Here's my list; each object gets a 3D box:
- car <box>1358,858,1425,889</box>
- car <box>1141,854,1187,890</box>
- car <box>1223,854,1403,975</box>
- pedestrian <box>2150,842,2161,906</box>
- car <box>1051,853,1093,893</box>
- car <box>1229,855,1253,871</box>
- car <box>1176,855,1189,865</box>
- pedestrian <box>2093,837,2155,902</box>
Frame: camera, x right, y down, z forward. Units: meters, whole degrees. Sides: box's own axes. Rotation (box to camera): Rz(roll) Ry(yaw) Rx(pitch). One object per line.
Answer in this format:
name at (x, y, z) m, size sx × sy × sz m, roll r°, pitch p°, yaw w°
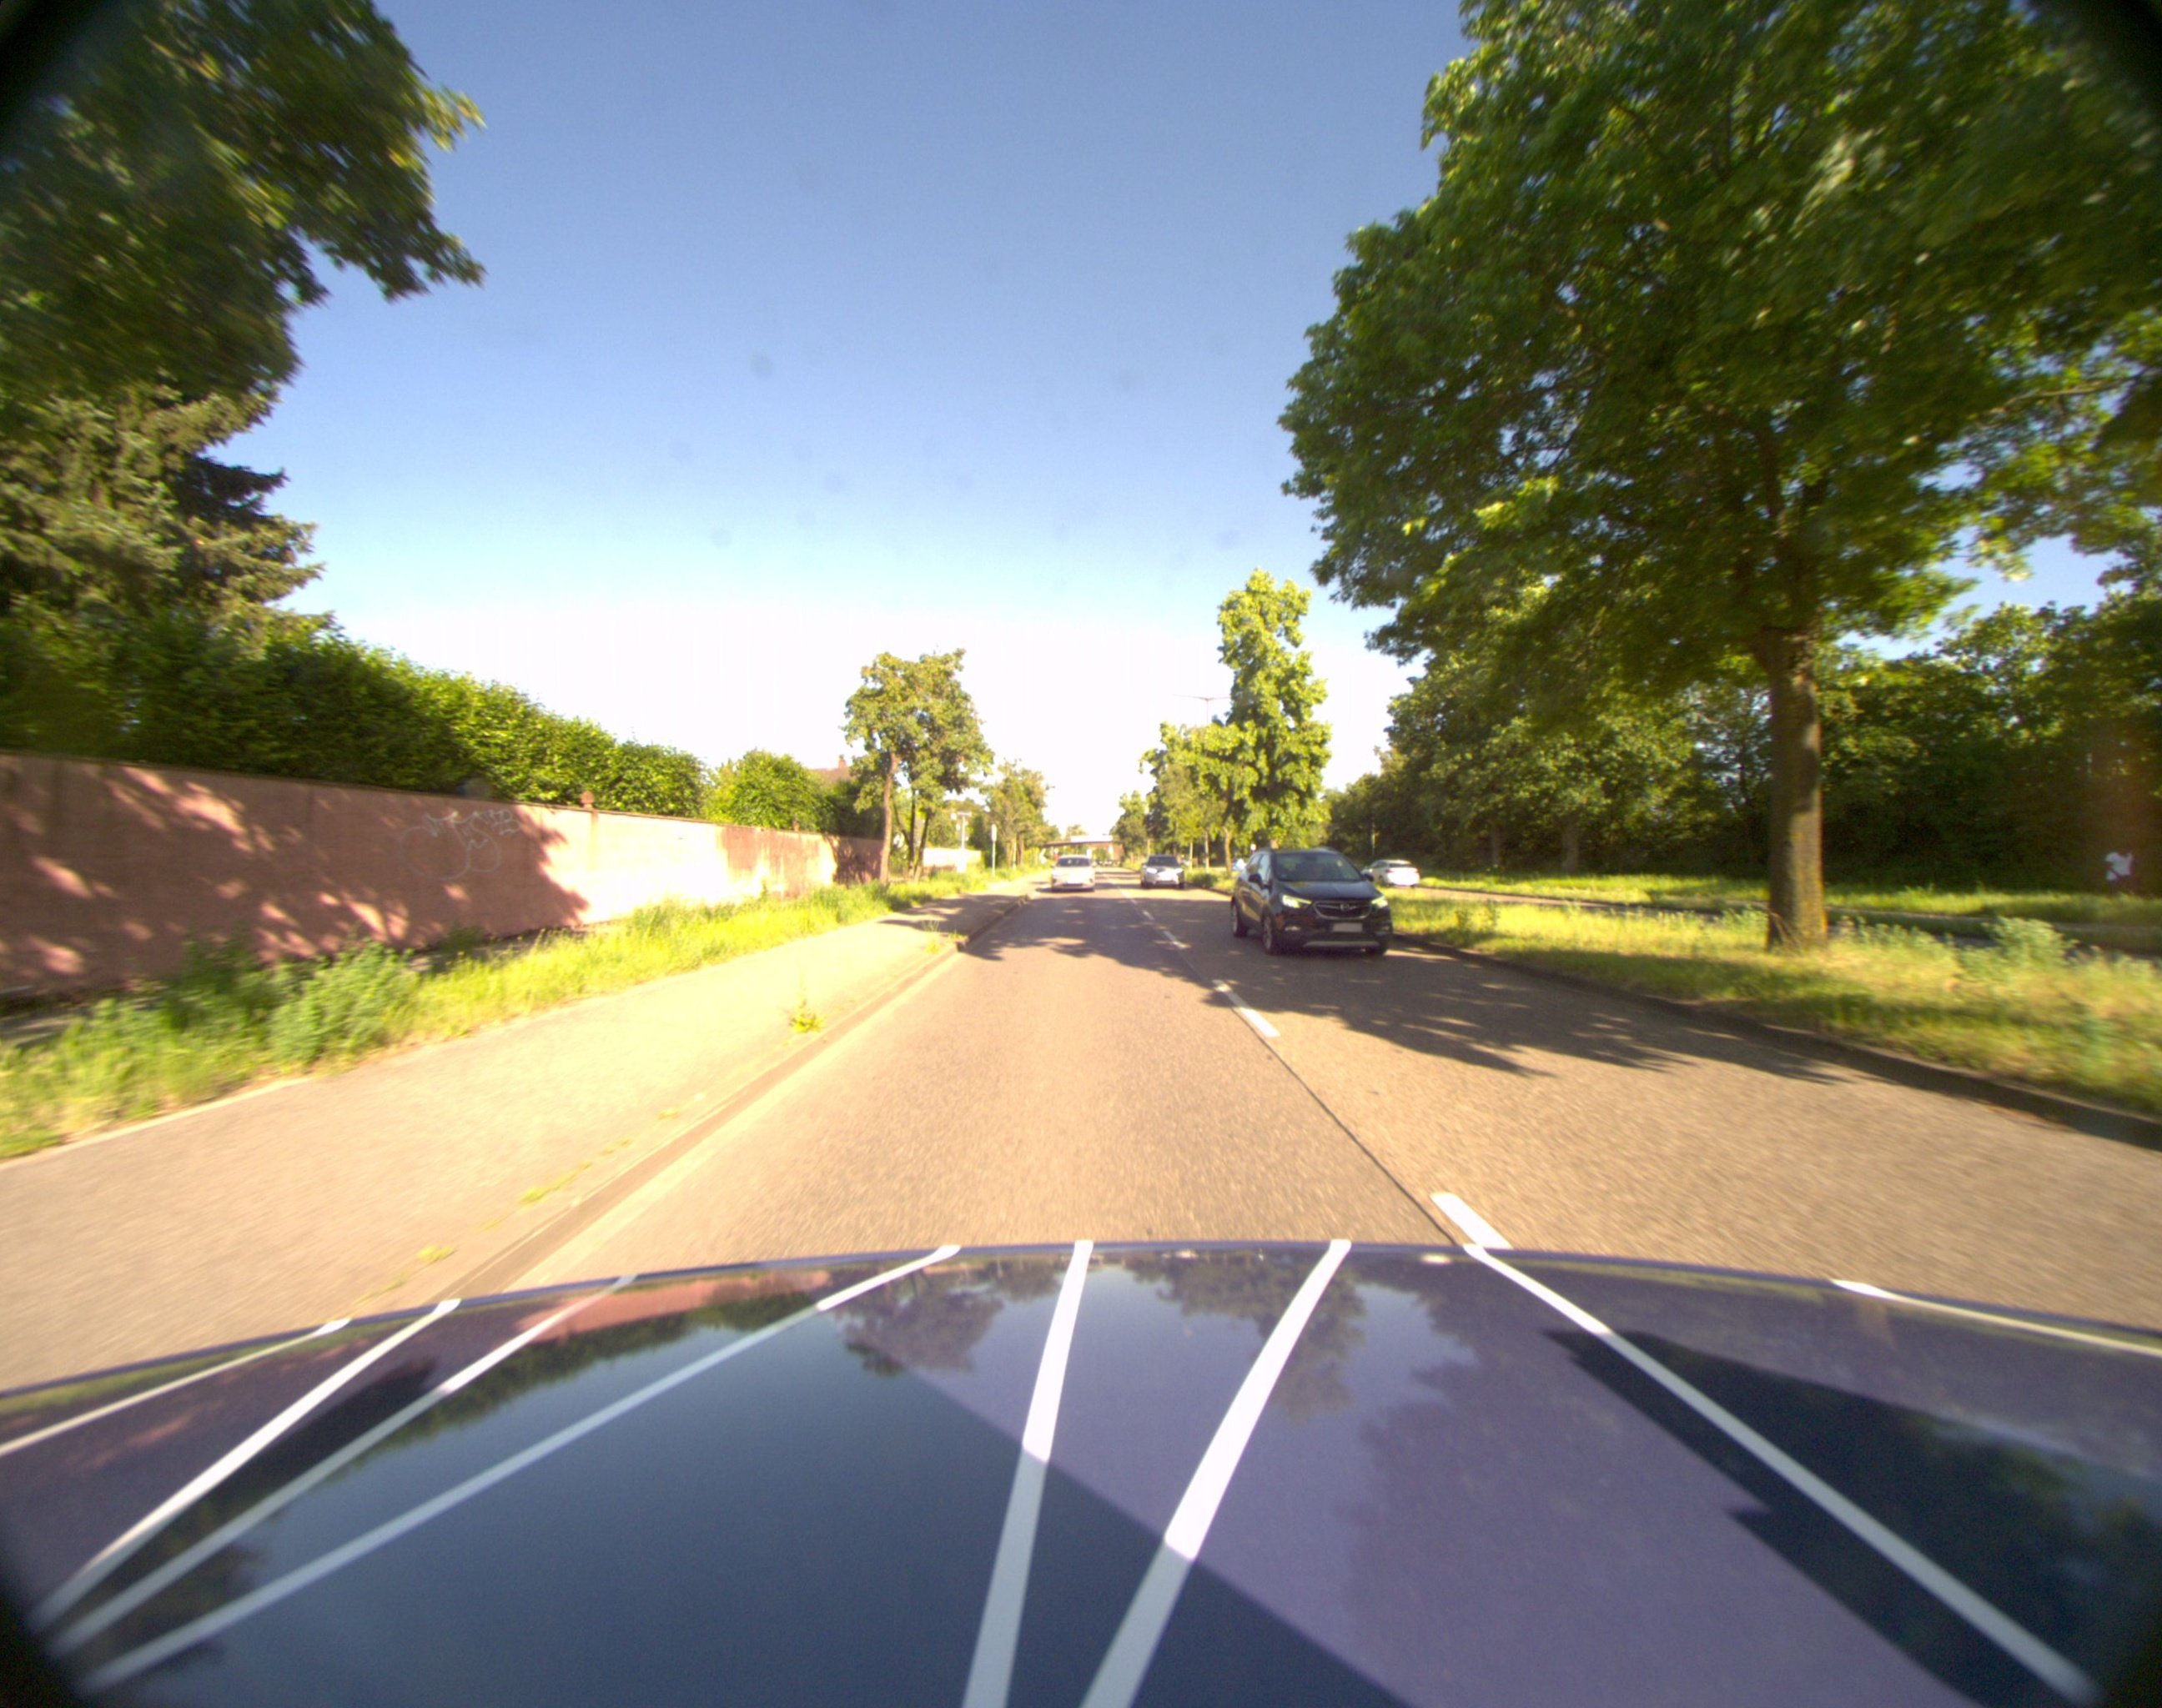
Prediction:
car at (16.144, 0.977, 39.704) m, size 1.730 × 1.448 × 4.346 m, roll 2°, pitch 0°, yaw 0°
car at (3.861, 0.798, 35.933) m, size 1.789 × 1.600 × 4.106 m, roll 0°, pitch 0°, yaw 1°
car at (3.597, 0.837, 12.655) m, size 1.700 × 1.622 × 4.417 m, roll 0°, pitch 0°, yaw 1°
pedestrian at (28.430, 0.517, 19.723) m, size 0.561 × 1.650 × 0.540 m, roll -2°, pitch 1°, yaw 6°
car at (-0.349, 0.785, 33.739) m, size 1.766 × 1.606 × 4.297 m, roll 0°, pitch 1°, yaw 1°
car at (17.503, 0.975, 83.243) m, size 1.733 × 1.569 × 3.747 m, roll 2°, pitch 0°, yaw 0°
car at (17.112, 1.060, 127.981) m, size 1.733 × 1.569 × 3.747 m, roll 2°, pitch 0°, yaw 0°
pedestrian at (27.084, 0.396, 19.739) m, size 0.683 × 1.650 × 0.679 m, roll -2°, pitch 1°, yaw -4°
